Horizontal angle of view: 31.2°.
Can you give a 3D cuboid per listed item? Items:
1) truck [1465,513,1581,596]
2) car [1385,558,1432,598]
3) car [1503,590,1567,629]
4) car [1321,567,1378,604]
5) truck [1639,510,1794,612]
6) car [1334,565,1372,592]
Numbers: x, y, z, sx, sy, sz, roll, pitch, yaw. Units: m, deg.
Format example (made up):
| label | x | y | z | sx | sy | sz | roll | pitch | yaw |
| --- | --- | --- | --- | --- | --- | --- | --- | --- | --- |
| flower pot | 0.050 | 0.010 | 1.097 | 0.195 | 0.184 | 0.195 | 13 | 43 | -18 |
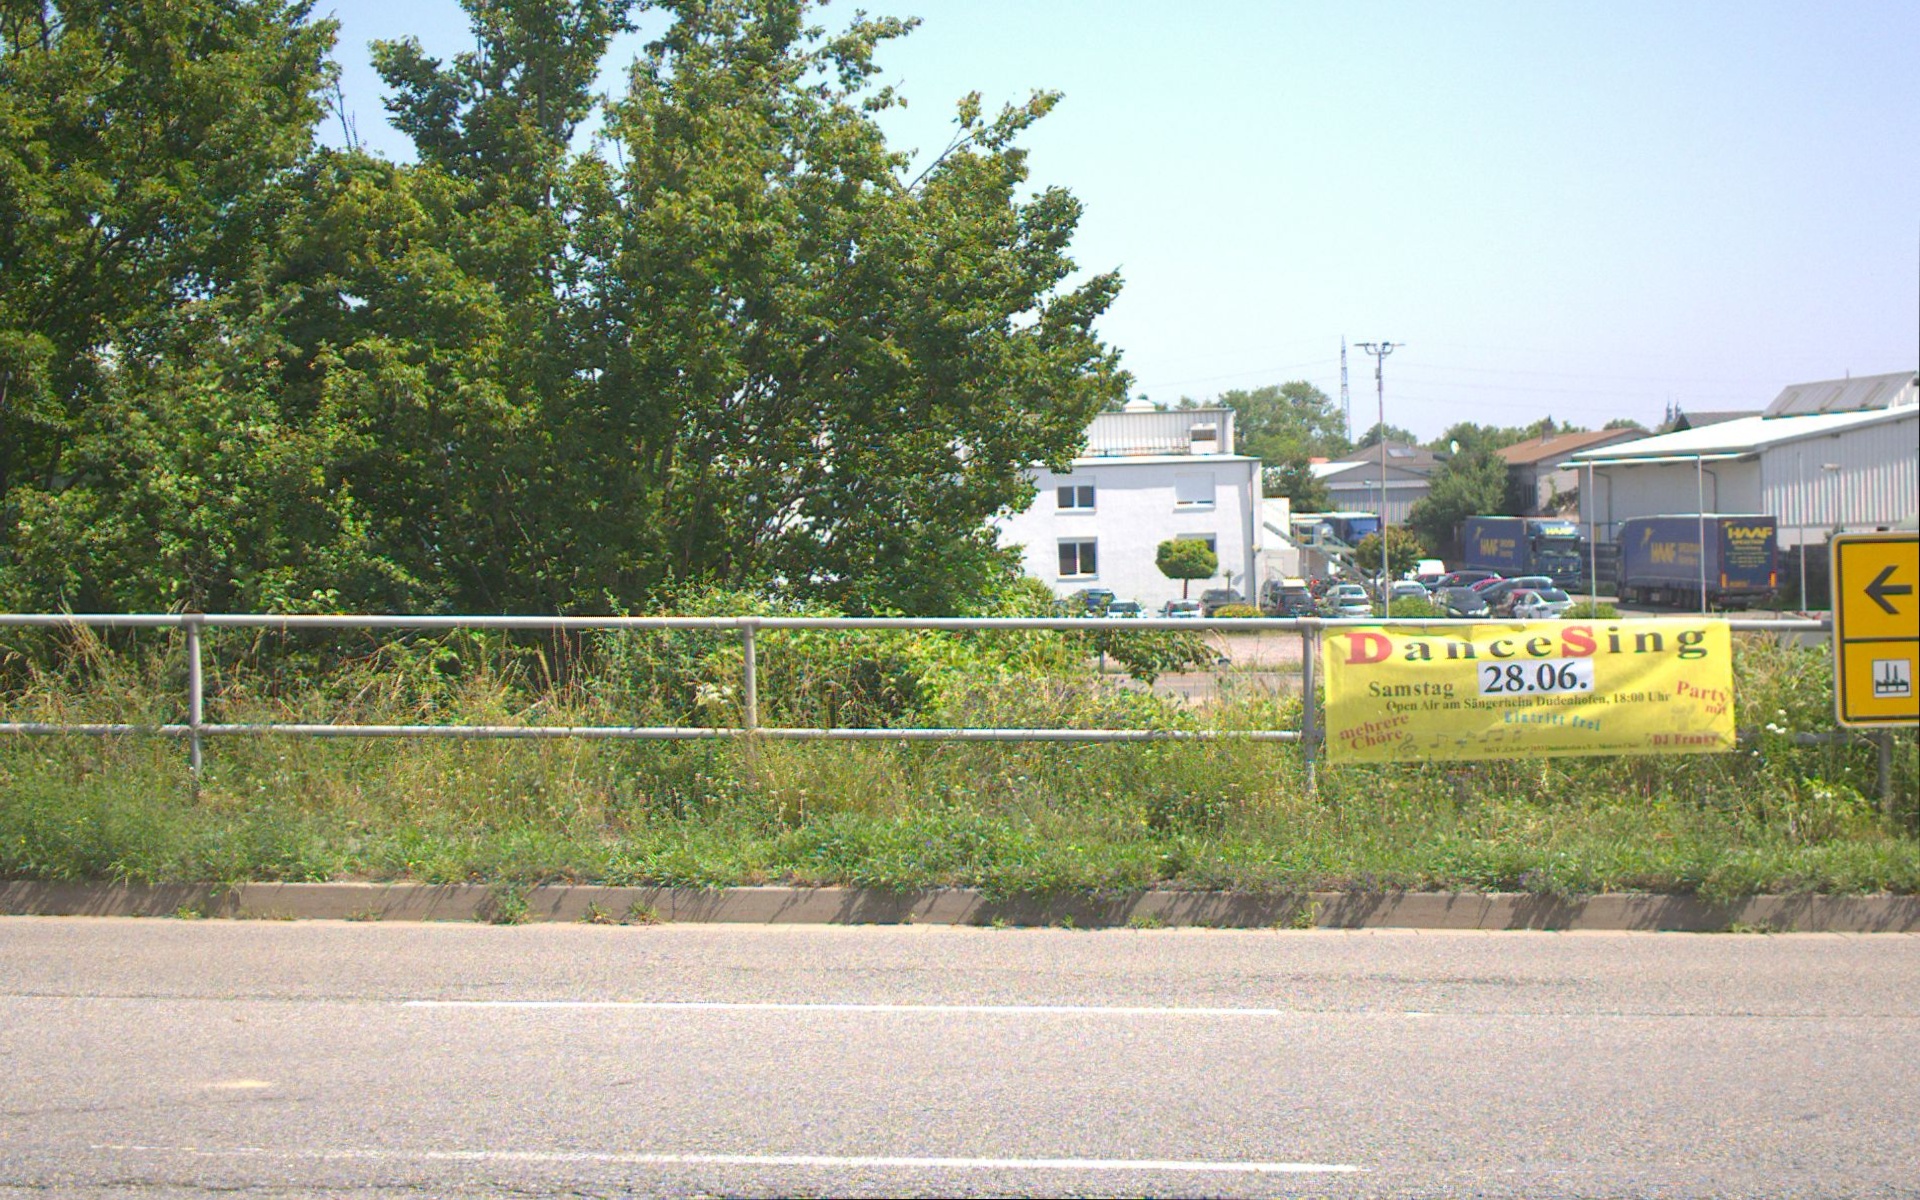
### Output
| label | x | y | z | sx | sy | sz | roll | pitch | yaw |
| --- | --- | --- | --- | --- | --- | --- | --- | --- | --- |
| truck | 30.452 | -2.509 | 186.593 | 3.411 | 4.296 | 14.595 | 0 | 1 | -2 |
| car | 22.994 | -1.146 | 176.318 | 1.716 | 2.007 | 4.001 | 0 | 1 | -3 |
| car | 22.755 | 0.361 | 136.115 | 1.683 | 1.358 | 3.836 | -3 | 1 | -3 |
| car | 19.278 | -0.738 | 170.396 | 1.993 | 1.725 | 4.864 | 0 | 1 | -3 |
| truck | 33.295 | -1.789 | 152.036 | 3.708 | 4.296 | 13.343 | 0 | 1 | -1 |
| car | 20.470 | -1.119 | 179.174 | 1.450 | 1.346 | 3.316 | 0 | 1 | -3 |
